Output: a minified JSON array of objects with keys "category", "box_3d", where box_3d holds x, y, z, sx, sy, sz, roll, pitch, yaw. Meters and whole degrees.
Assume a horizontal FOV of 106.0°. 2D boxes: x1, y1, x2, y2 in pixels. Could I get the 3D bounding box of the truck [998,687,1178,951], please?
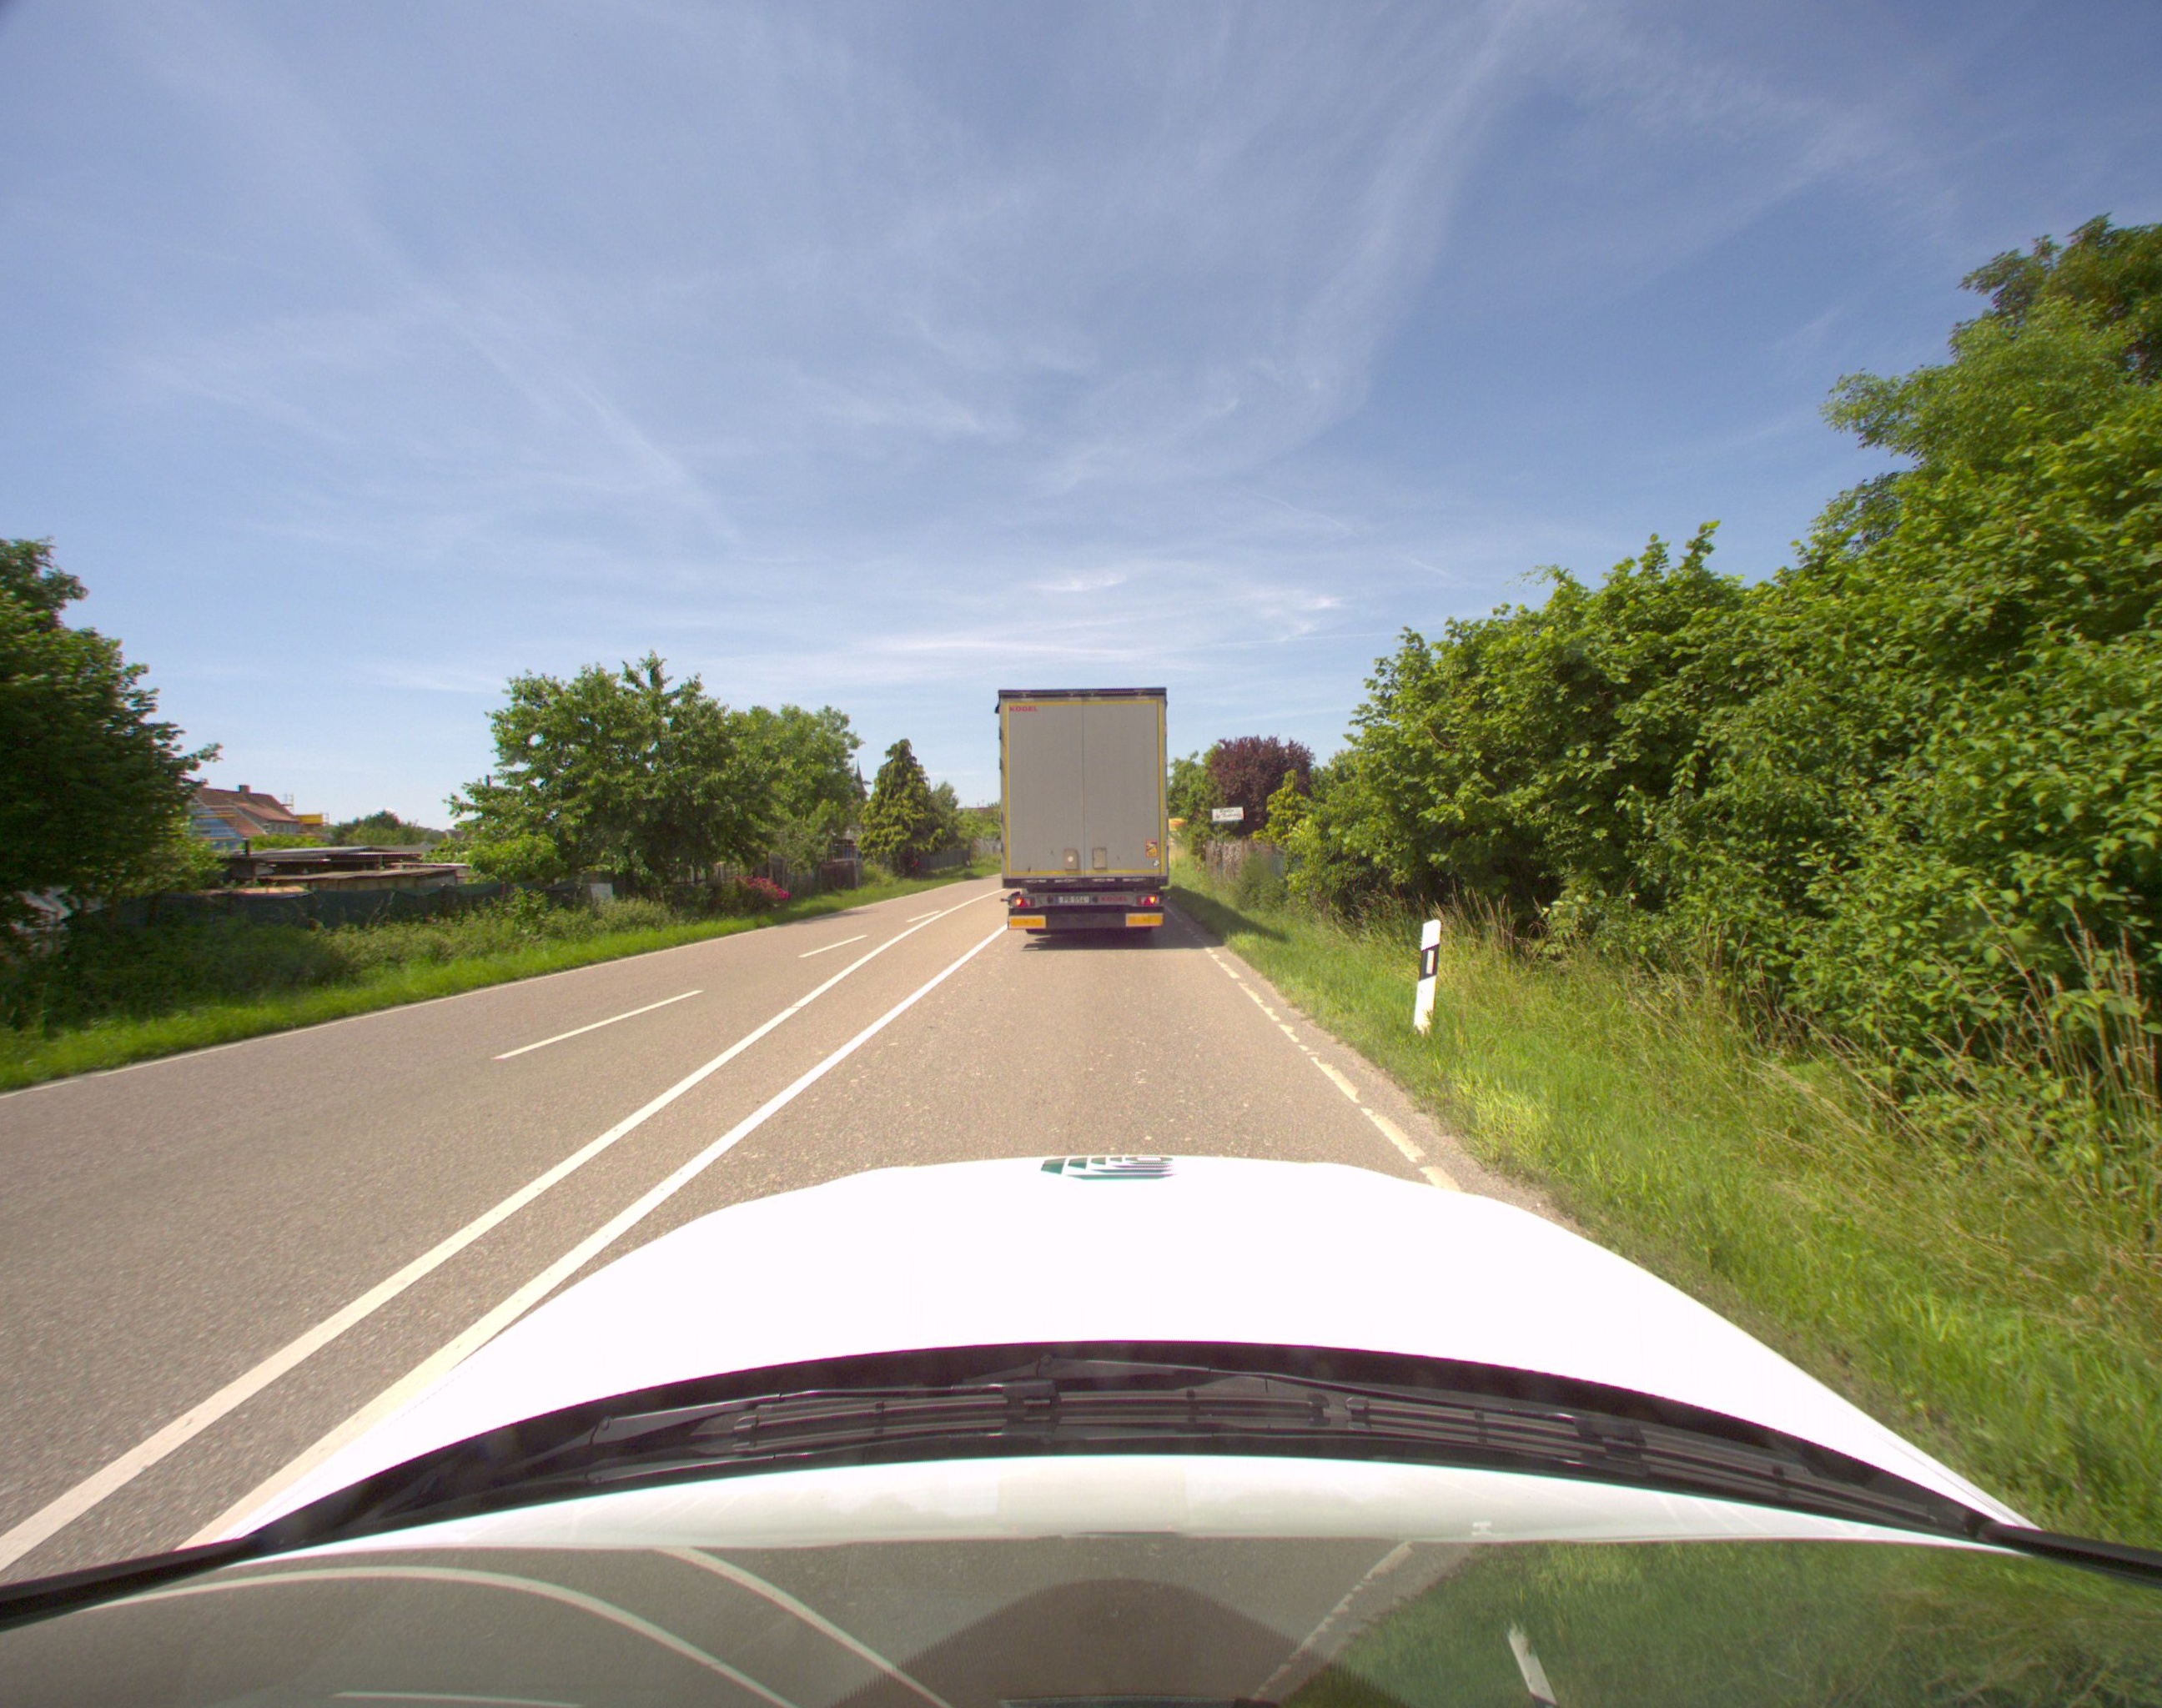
[{"category":"truck","box_3d":[0.140,-0.559,16.646,2.639,3.917,8.825,-1,0,0]}]
